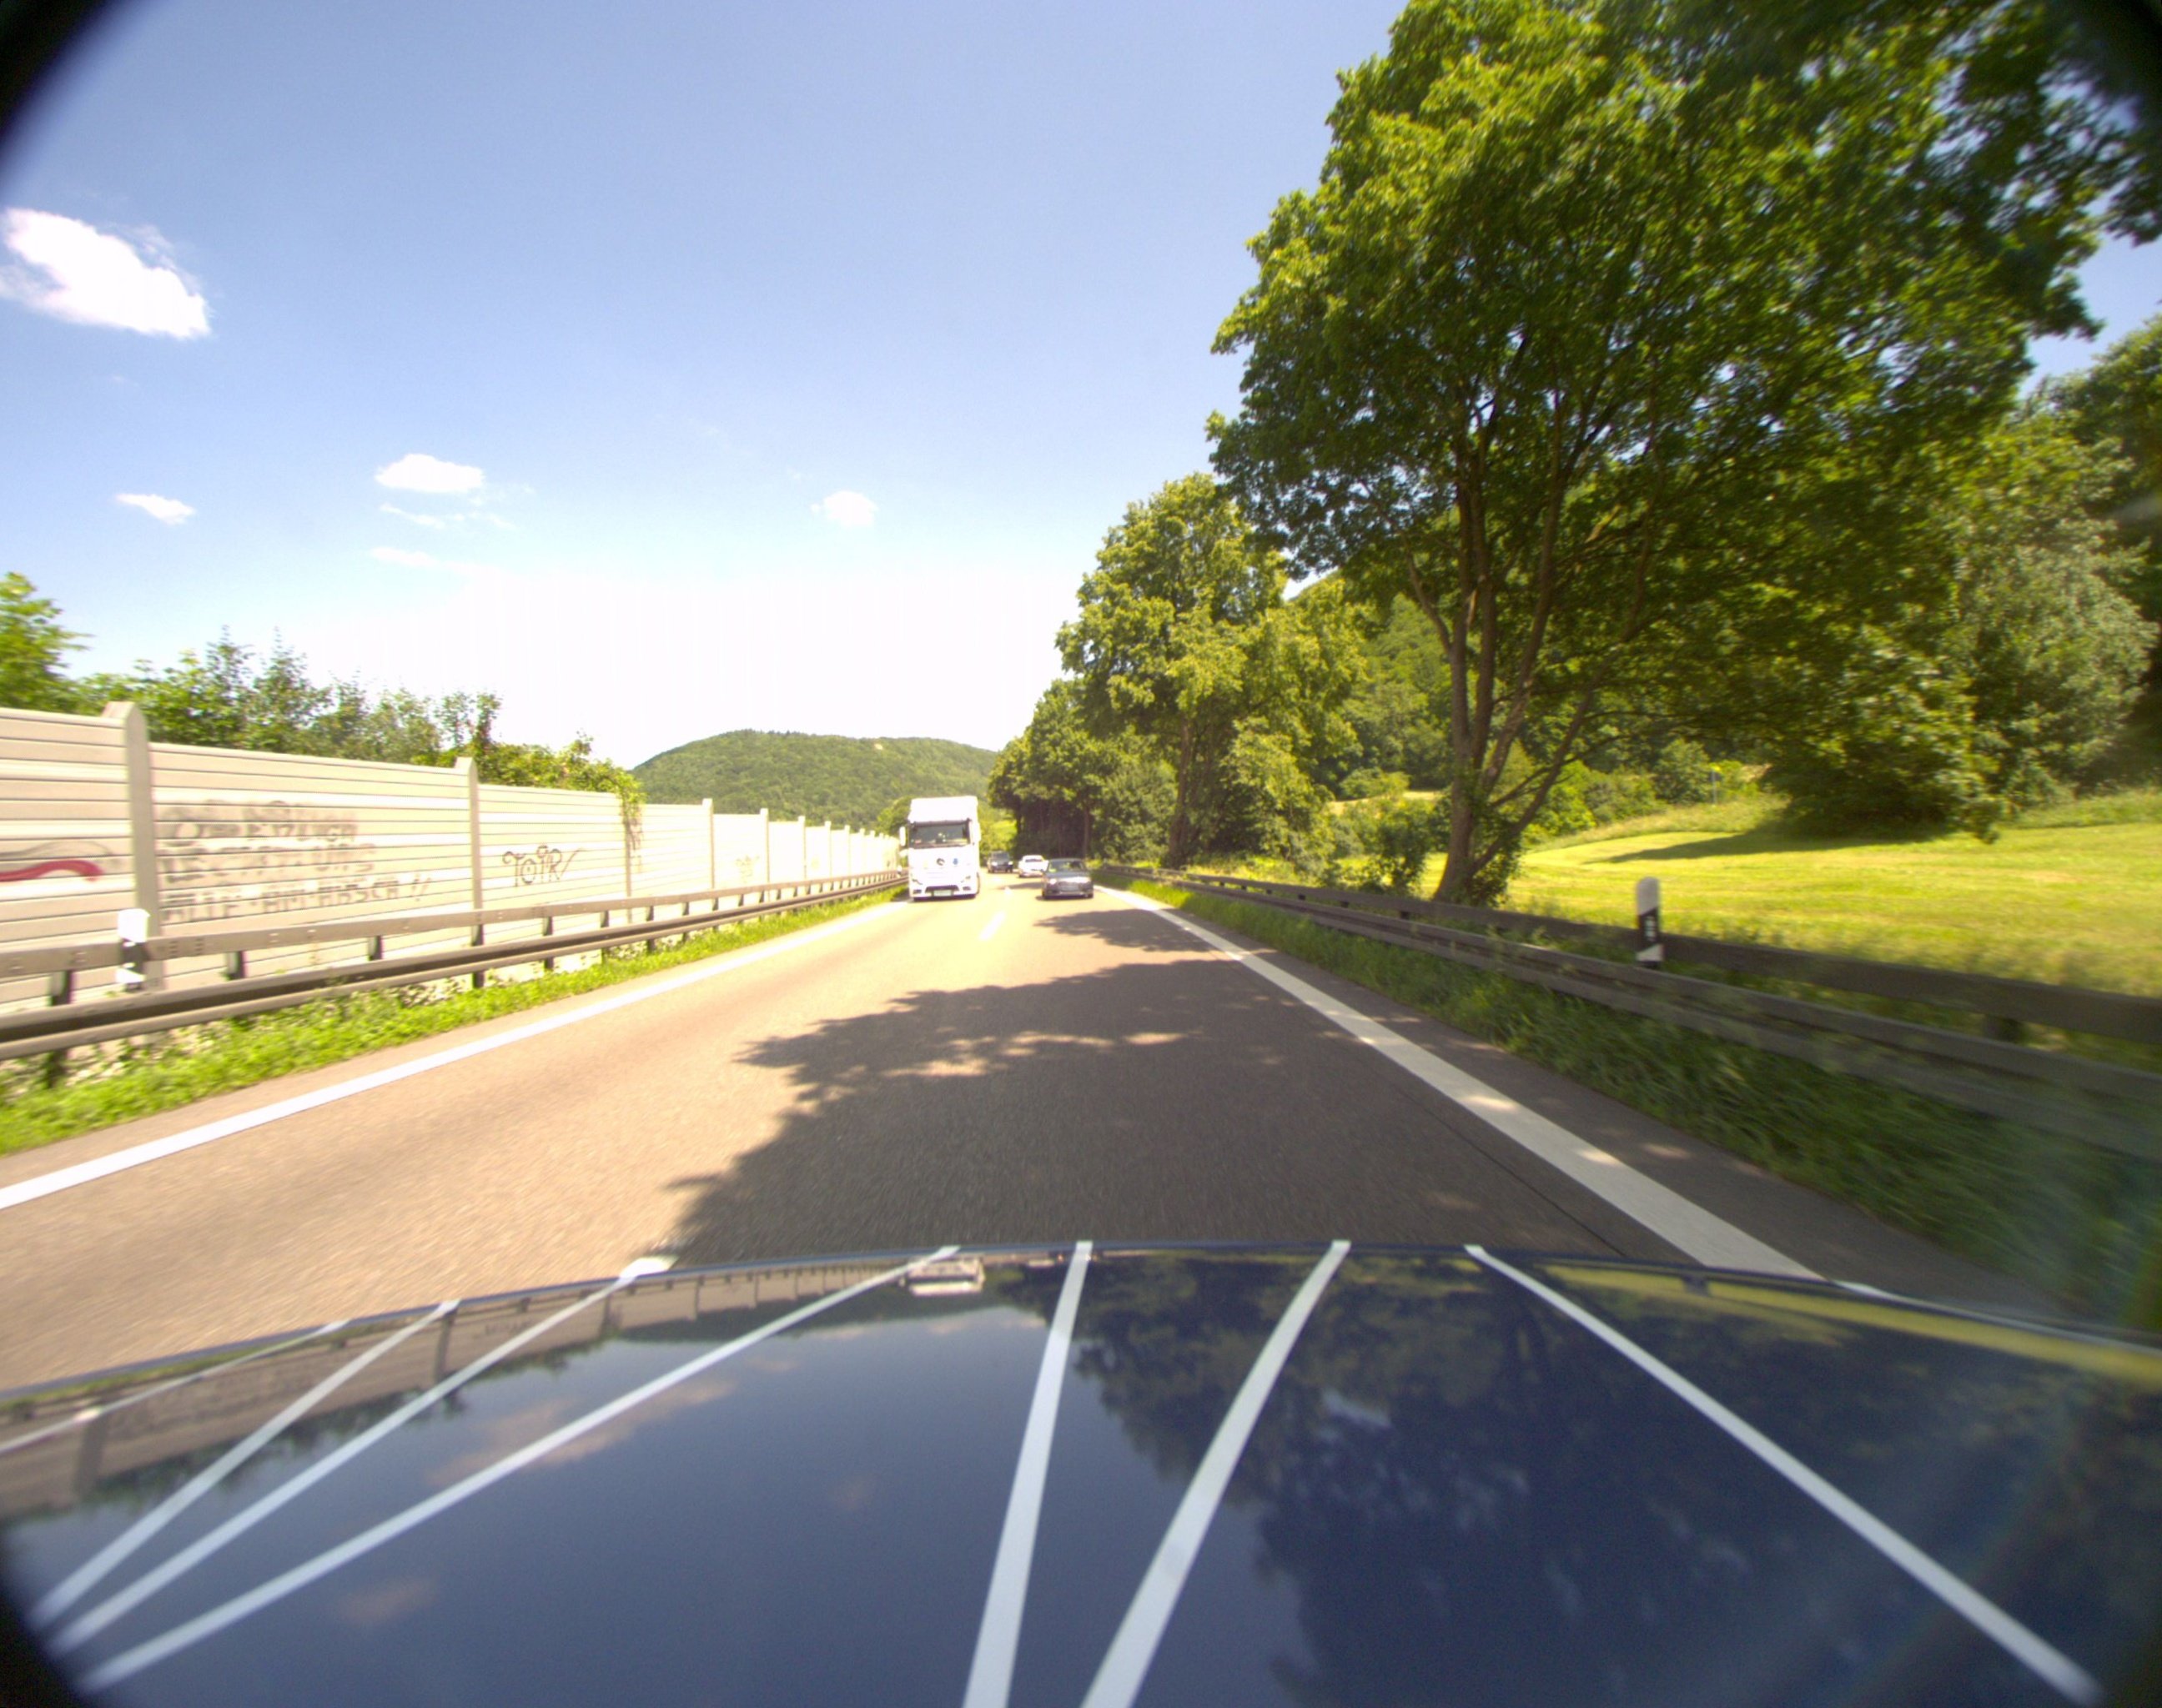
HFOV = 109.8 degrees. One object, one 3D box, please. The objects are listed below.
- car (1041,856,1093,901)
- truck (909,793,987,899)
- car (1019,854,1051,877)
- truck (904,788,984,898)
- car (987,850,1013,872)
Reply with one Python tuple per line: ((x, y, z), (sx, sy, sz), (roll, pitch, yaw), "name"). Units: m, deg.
((-0.438, 0.819, 26.959), (1.662, 1.435, 3.475), (-2, 0, 1), "car")
((-6.061, -0.341, 36.478), (2.863, 4.124, 12.039), (-2, 1, -7), "truck")
((-3.212, 0.767, 52.438), (1.717, 1.541, 3.996), (-1, 0, -11), "car")
((-5.510, -0.400, 31.594), (2.766, 4.015, 6.819), (-2, 0, -7), "truck")
((-7.376, 0.638, 69.120), (2.045, 1.855, 3.997), (-2, 0, -10), "car")
